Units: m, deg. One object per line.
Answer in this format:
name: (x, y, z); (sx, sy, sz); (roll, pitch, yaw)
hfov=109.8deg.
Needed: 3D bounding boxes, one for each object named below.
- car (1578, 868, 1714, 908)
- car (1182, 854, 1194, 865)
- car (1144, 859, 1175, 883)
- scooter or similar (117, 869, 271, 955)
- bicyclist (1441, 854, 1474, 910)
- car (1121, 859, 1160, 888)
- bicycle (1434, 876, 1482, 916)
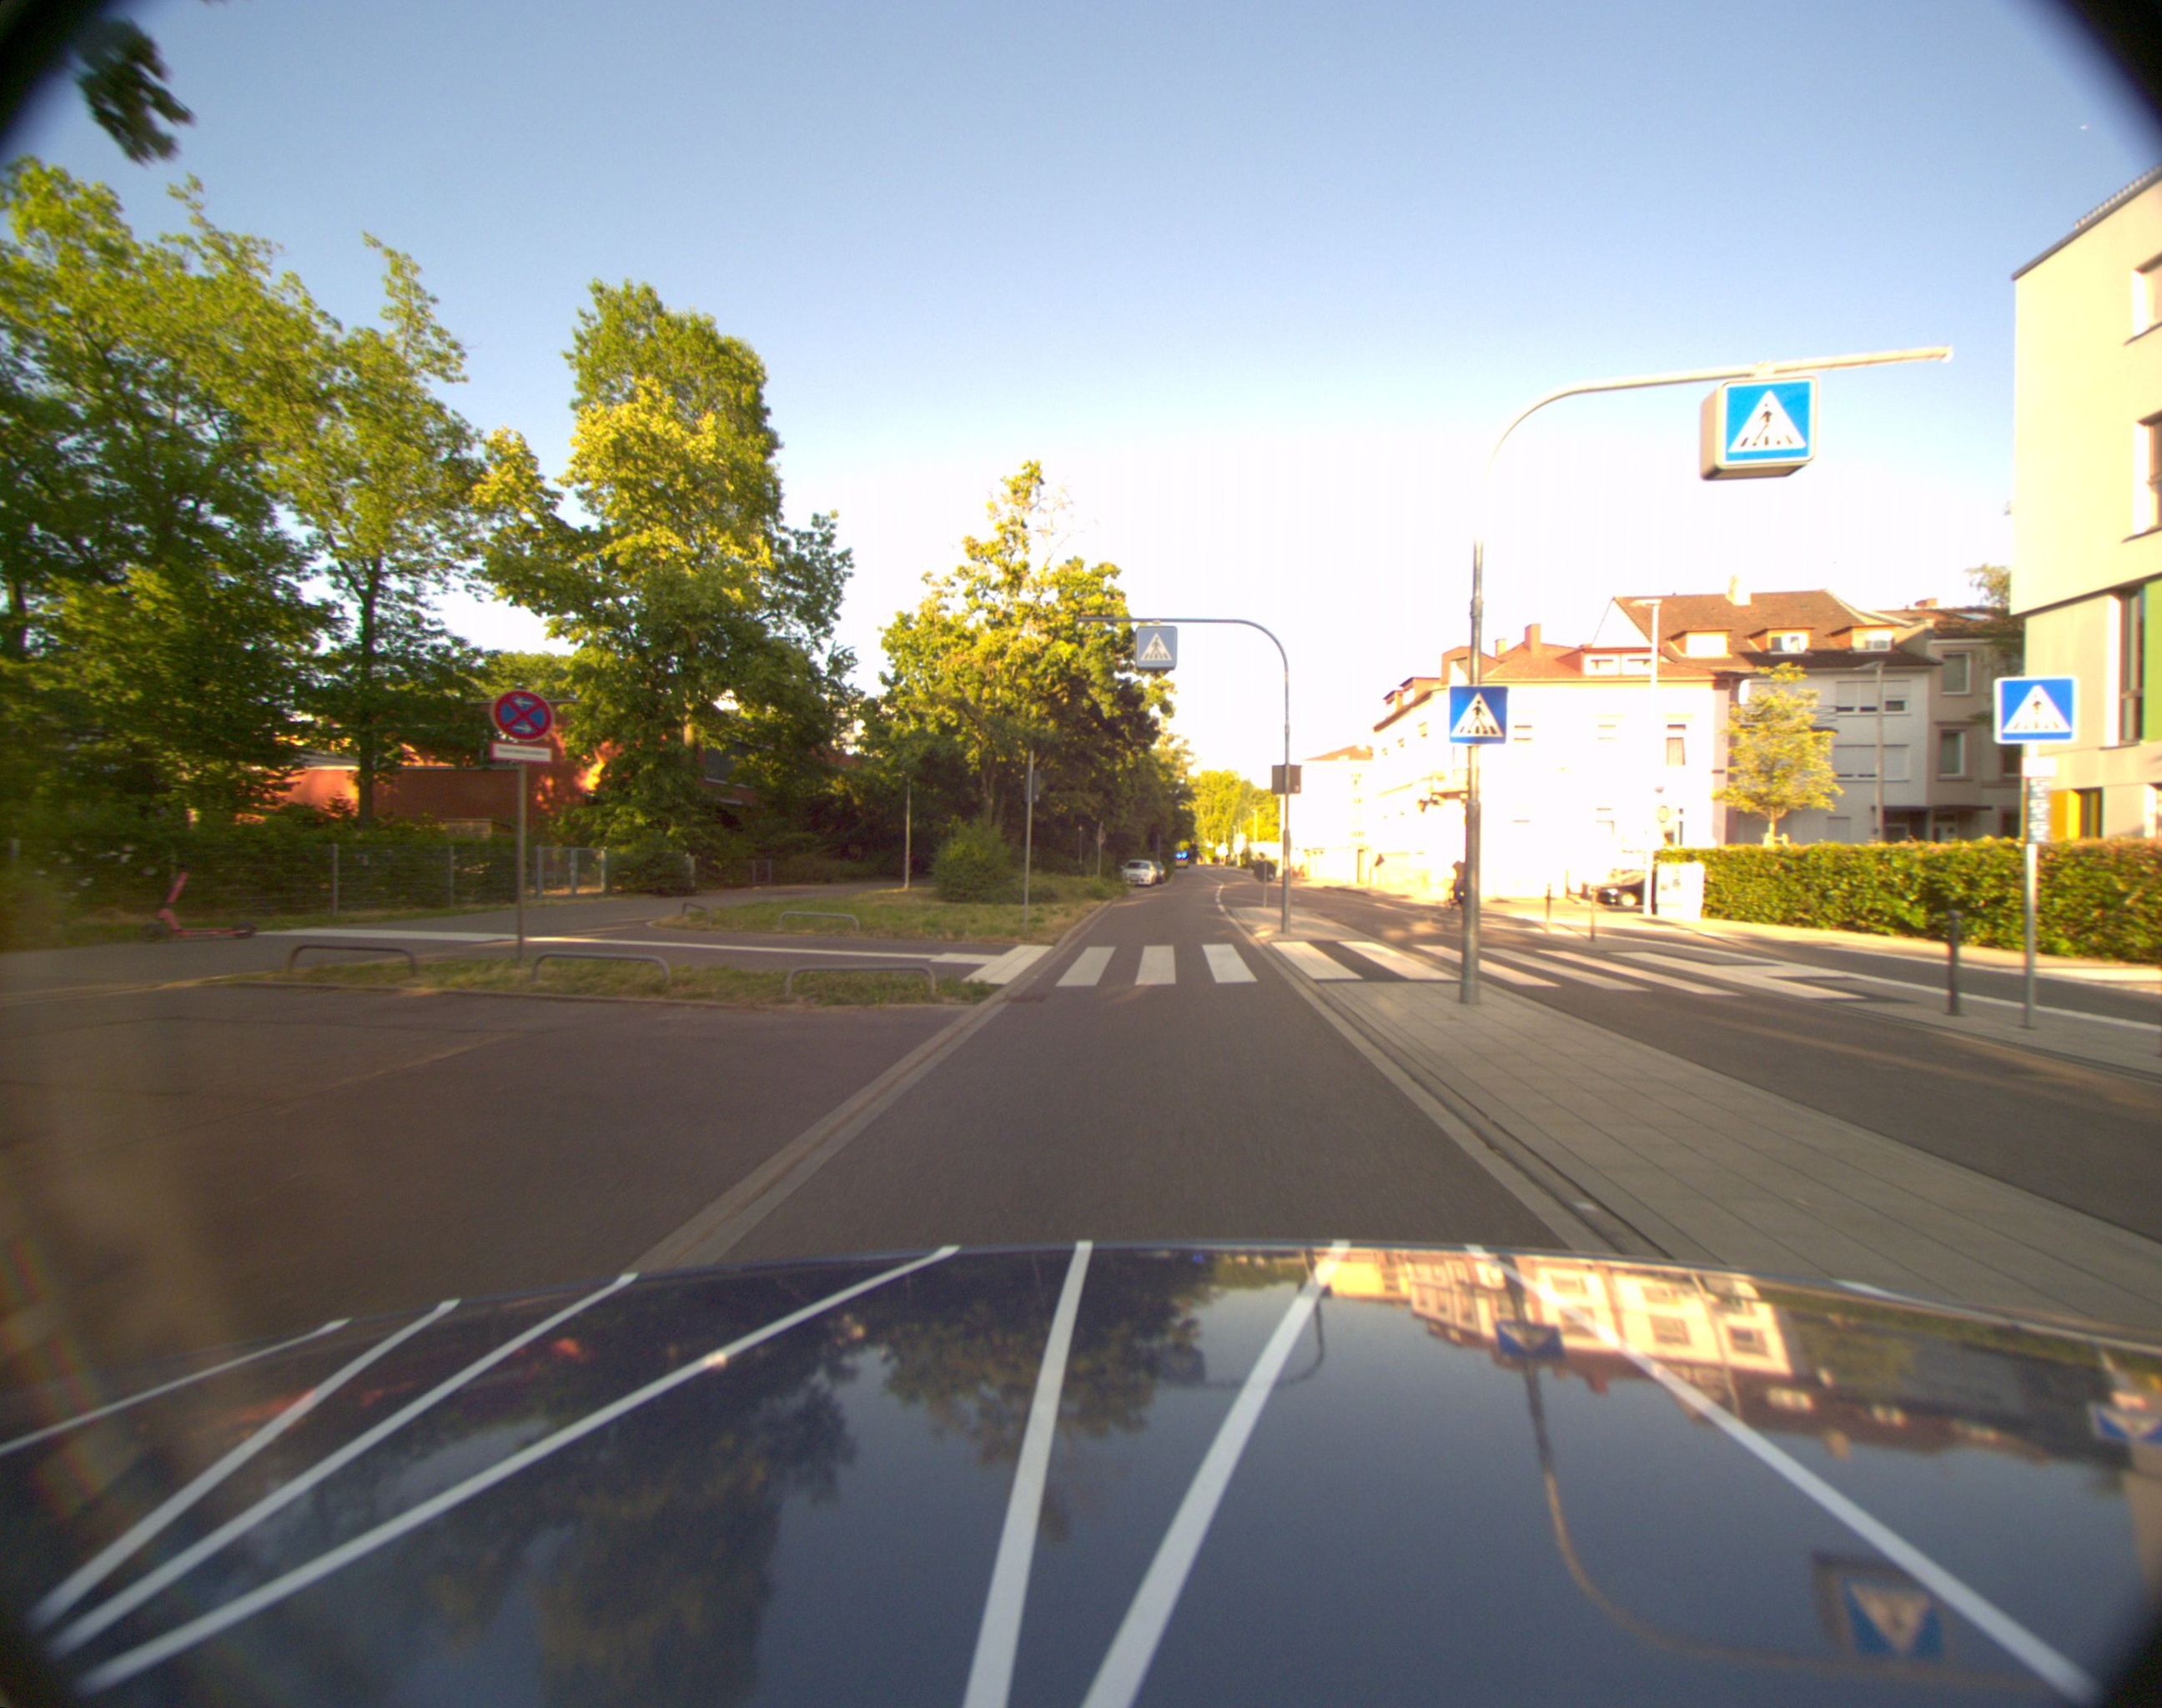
car: (22.440, 1.329, 30.295); (3.914, 1.430, 1.905); (1, 0, 5)
car: (19.900, 0.967, 141.498); (2.227, 2.002, 4.893); (1, 0, 8)
car: (5.171, 1.078, 49.615); (1.751, 1.478, 4.512); (1, 0, 9)
scooter or similar: (-13.291, 0.834, 11.425); (0.385, 1.200, 1.473); (1, 0, 34)
bicyclist: (11.113, 0.816, 22.419); (0.627, 1.635, 0.758); (1, 0, 7)
car: (3.413, 1.060, 43.203); (1.751, 1.478, 4.180); (3, 0, 10)
bicycle: (11.115, 1.217, 22.448); (0.635, 1.072, 1.884); (1, 0, 6)
